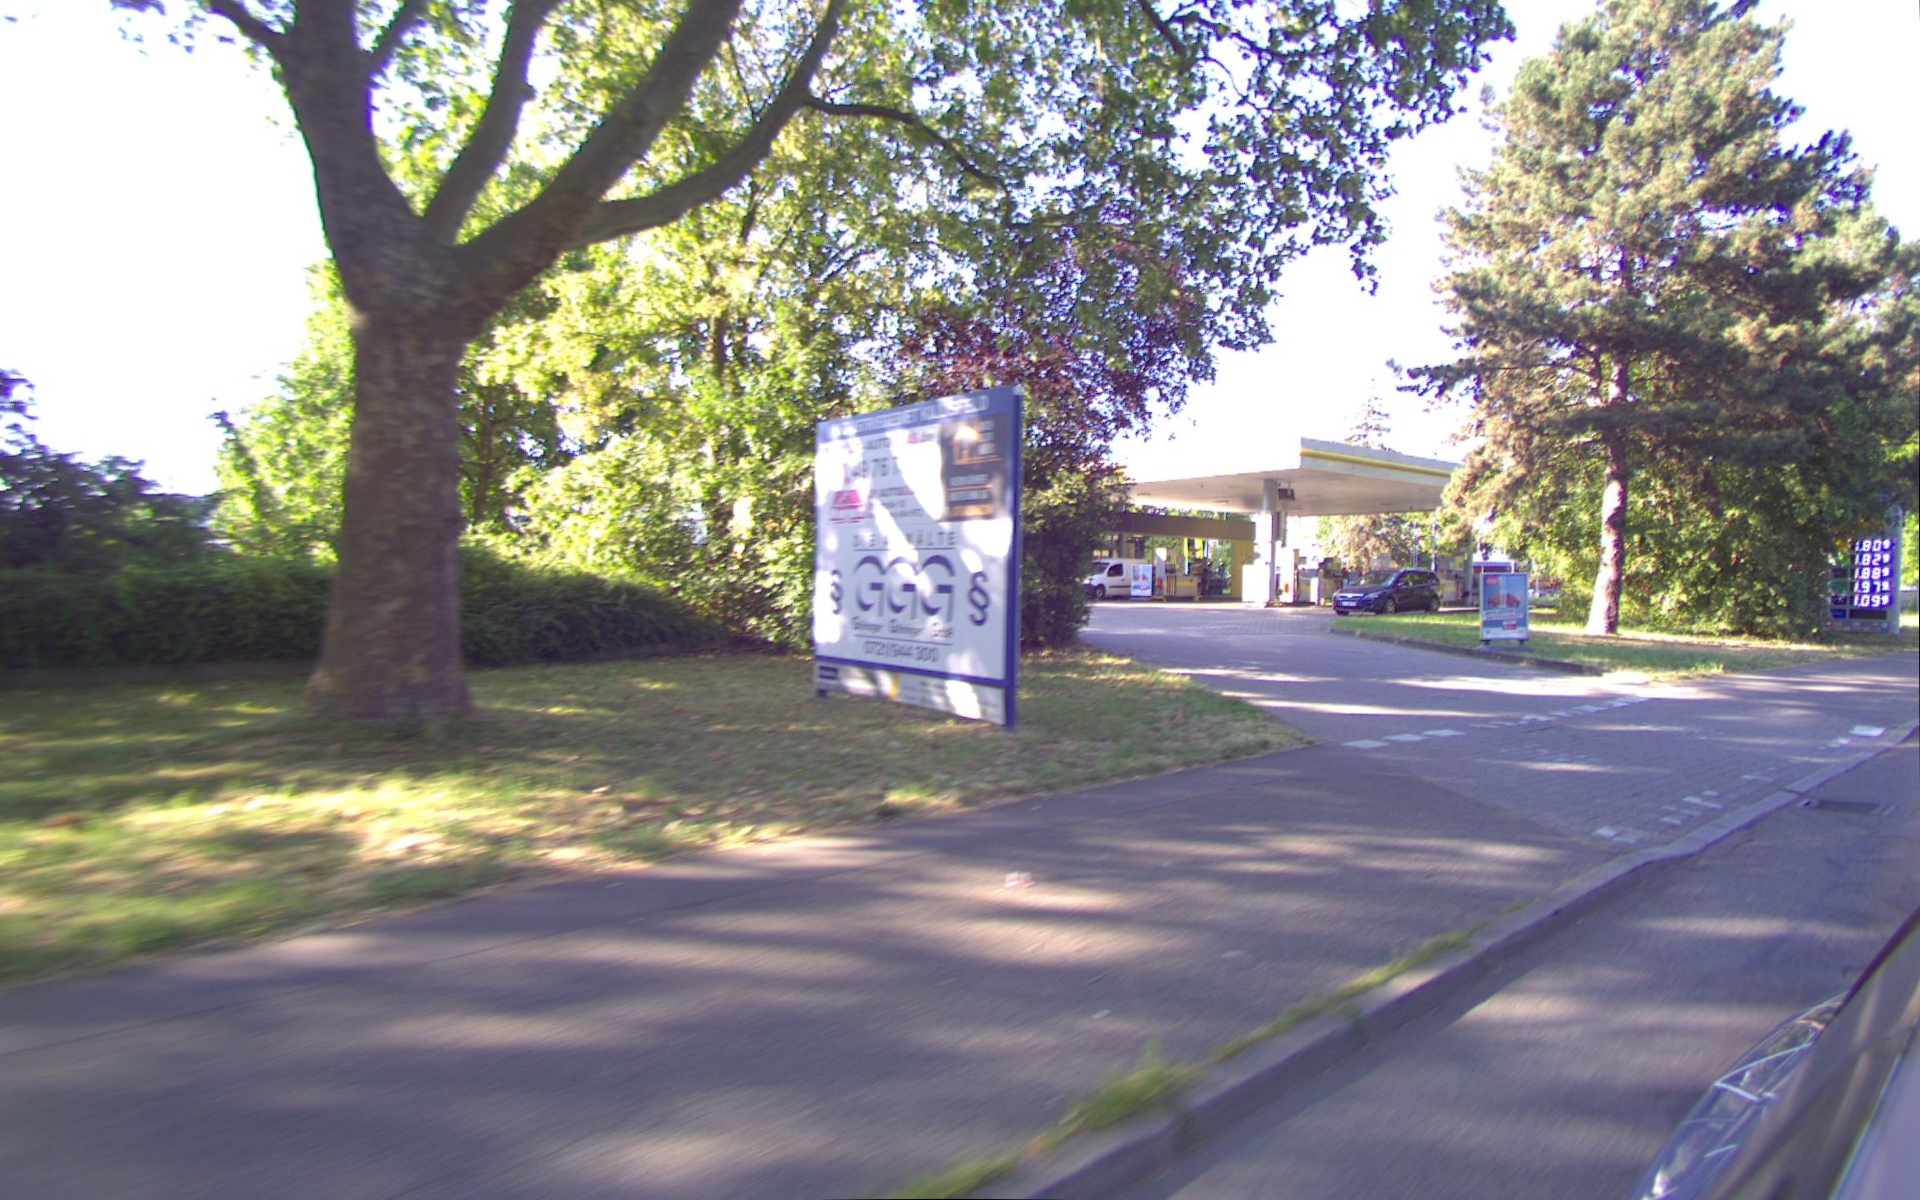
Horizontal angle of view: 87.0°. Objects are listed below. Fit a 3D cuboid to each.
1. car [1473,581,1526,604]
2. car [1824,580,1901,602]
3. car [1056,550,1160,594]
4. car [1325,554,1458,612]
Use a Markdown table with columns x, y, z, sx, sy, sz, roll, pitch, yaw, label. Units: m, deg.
| x | y | z | sx | sy | sz | roll | pitch | yaw | label |
| --- | --- | --- | --- | --- | --- | --- | --- | --- | --- |
| 48.335 | -0.640 | 90.827 | 1.854 | 2.000 | 4.653 | 2 | 0 | -6 | car |
| 70.065 | -0.725 | 78.700 | 1.962 | 1.613 | 4.445 | 2 | 1 | 0 | car |
| 6.427 | -1.200 | 43.795 | 4.314 | 1.749 | 1.819 | 0 | 3 | -35 | car |
| 13.841 | -0.532 | 32.363 | 4.392 | 1.667 | 1.931 | 1 | 2 | -37 | car |
